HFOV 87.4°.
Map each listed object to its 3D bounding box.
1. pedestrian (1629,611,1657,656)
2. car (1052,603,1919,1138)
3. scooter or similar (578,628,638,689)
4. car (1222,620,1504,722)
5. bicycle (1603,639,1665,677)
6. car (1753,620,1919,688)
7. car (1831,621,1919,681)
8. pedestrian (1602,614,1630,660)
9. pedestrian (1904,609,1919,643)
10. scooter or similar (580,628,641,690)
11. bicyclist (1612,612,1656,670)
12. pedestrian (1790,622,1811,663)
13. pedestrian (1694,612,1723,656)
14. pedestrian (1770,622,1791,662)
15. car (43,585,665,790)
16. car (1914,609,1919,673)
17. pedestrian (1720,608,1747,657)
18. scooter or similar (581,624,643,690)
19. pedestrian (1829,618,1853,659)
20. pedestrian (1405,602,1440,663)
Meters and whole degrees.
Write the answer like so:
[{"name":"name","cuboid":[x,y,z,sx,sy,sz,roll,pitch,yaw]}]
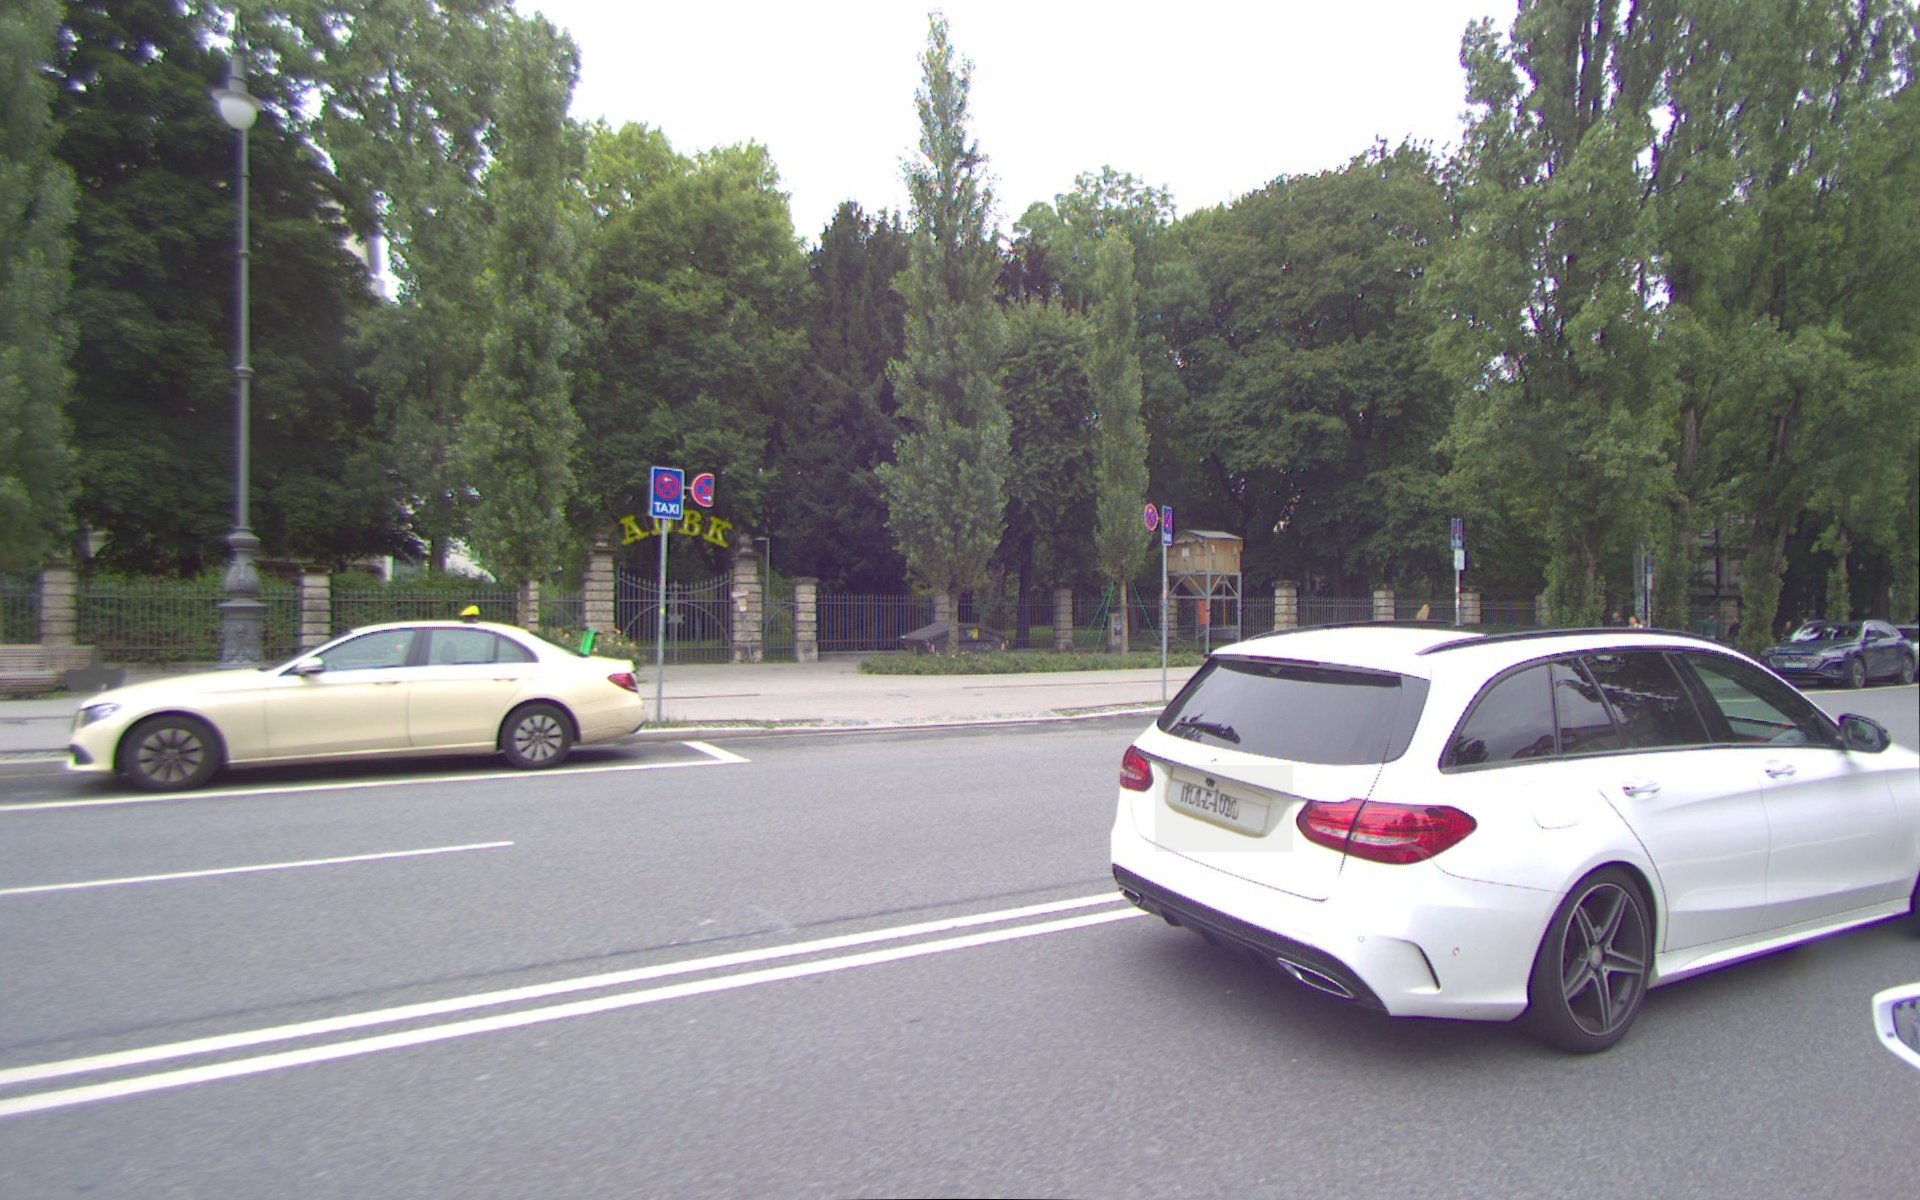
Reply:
[{"name":"pedestrian","cuboid":[27.362,1.332,40.215,0.724,1.745,0.664,1,0,-28]},{"name":"car","cuboid":[2.835,0.806,4.643,4.522,1.474,1.819,1,0,-26]},{"name":"scooter or similar","cuboid":[-7.073,1.166,20.213,1.108,1.217,0.242,1,-1,-29]},{"name":"car","cuboid":[6.944,1.109,17.215,4.730,1.517,1.923,0,-1,-28]},{"name":"bicycle","cuboid":[18.044,1.530,26.883,1.715,0.951,0.704,1,0,-30]},{"name":"car","cuboid":[22.566,1.358,25.851,4.557,1.617,1.774,1,-2,-29]},{"name":"car","cuboid":[27.223,1.410,28.854,4.598,1.605,1.882,1,-2,-29]},{"name":"pedestrian","cuboid":[24.274,1.369,37.173,0.695,1.682,0.616,1,0,-28]},{"name":"pedestrian","cuboid":[49.663,1.341,52.315,0.664,1.771,0.547,1,0,-29]},{"name":"scooter or similar","cuboid":[-6.954,1.167,19.979,1.108,1.217,0.242,1,-1,-29]},{"name":"bicyclist","cuboid":[18.038,1.085,26.890,0.851,1.518,0.690,1,-1,-30]},{"name":"pedestrian","cuboid":[36.038,1.818,43.052,0.562,1.730,0.506,1,0,-28]},{"name":"pedestrian","cuboid":[31.896,1.441,42.813,0.748,1.879,0.744,1,0,-28]},{"name":"pedestrian","cuboid":[35.600,1.809,43.595,0.562,1.730,0.506,1,0,-28]},{"name":"car","cuboid":[-5.699,0.791,10.164,4.905,1.646,1.929,2,-2,-29]},{"name":"car","cuboid":[32.288,1.270,31.568,4.877,1.982,1.985,1,-2,-29]},{"name":"pedestrian","cuboid":[32.463,1.344,42.166,0.631,2.040,0.663,1,0,-29]},{"name":"scooter or similar","cuboid":[-6.830,1.115,19.738,1.126,1.258,0.257,1,-1,-28]},{"name":"pedestrian","cuboid":[39.673,1.729,45.255,0.748,1.780,0.605,1,-1,-30]},{"name":"pedestrian","cuboid":[13.440,0.936,29.181,0.777,1.743,0.580,1,0,-30]}]
